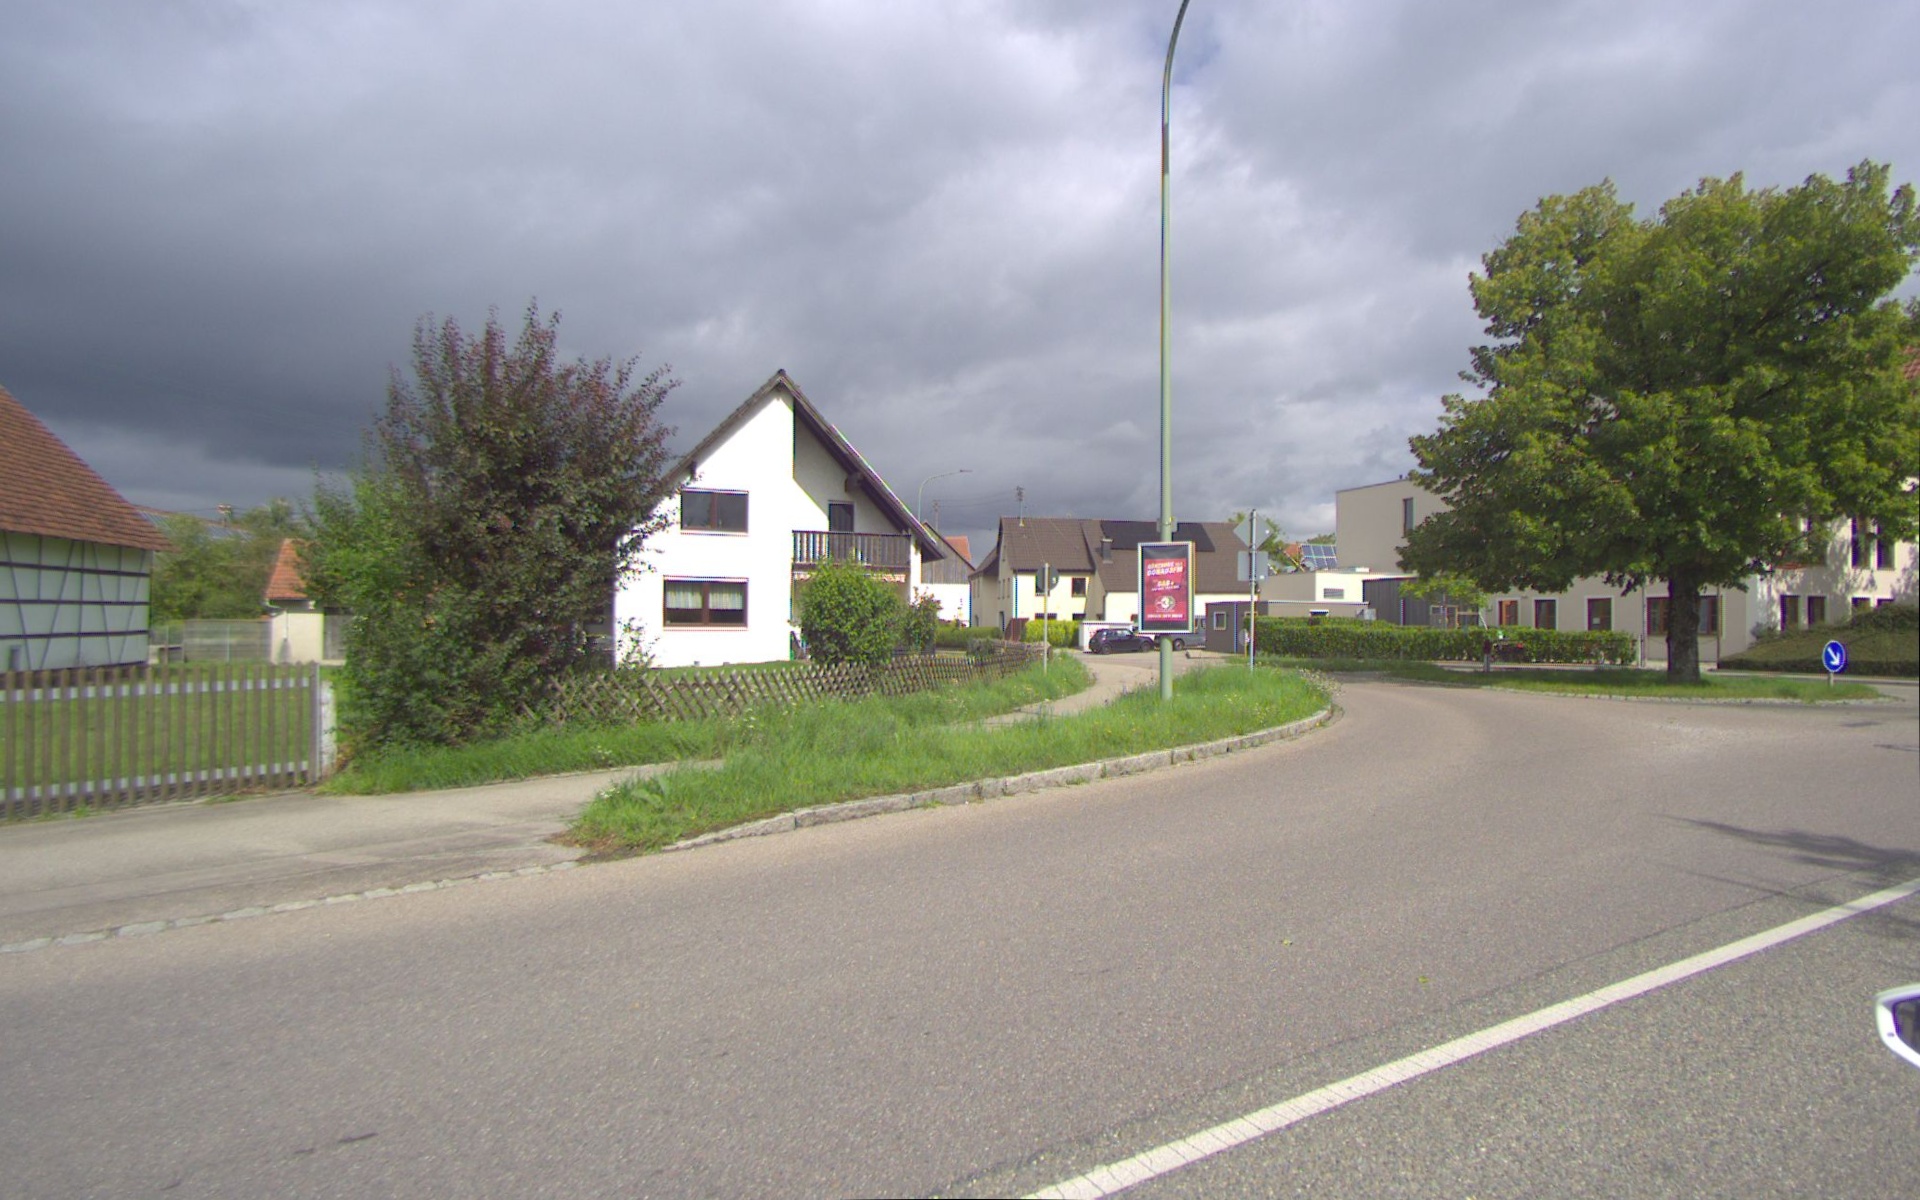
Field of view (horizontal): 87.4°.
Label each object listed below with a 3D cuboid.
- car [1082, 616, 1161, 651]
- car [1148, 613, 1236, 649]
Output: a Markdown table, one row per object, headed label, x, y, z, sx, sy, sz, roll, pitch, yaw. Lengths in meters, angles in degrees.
| label | x | y | z | sx | sy | sz | roll | pitch | yaw |
| --- | --- | --- | --- | --- | --- | --- | --- | --- | --- |
| car | 9.461 | 1.962 | 58.852 | 4.135 | 2.040 | 1.991 | 1 | -1 | -20 |
| car | 13.850 | 1.860 | 60.027 | 4.825 | 2.040 | 1.991 | 1 | -1 | -20 |
